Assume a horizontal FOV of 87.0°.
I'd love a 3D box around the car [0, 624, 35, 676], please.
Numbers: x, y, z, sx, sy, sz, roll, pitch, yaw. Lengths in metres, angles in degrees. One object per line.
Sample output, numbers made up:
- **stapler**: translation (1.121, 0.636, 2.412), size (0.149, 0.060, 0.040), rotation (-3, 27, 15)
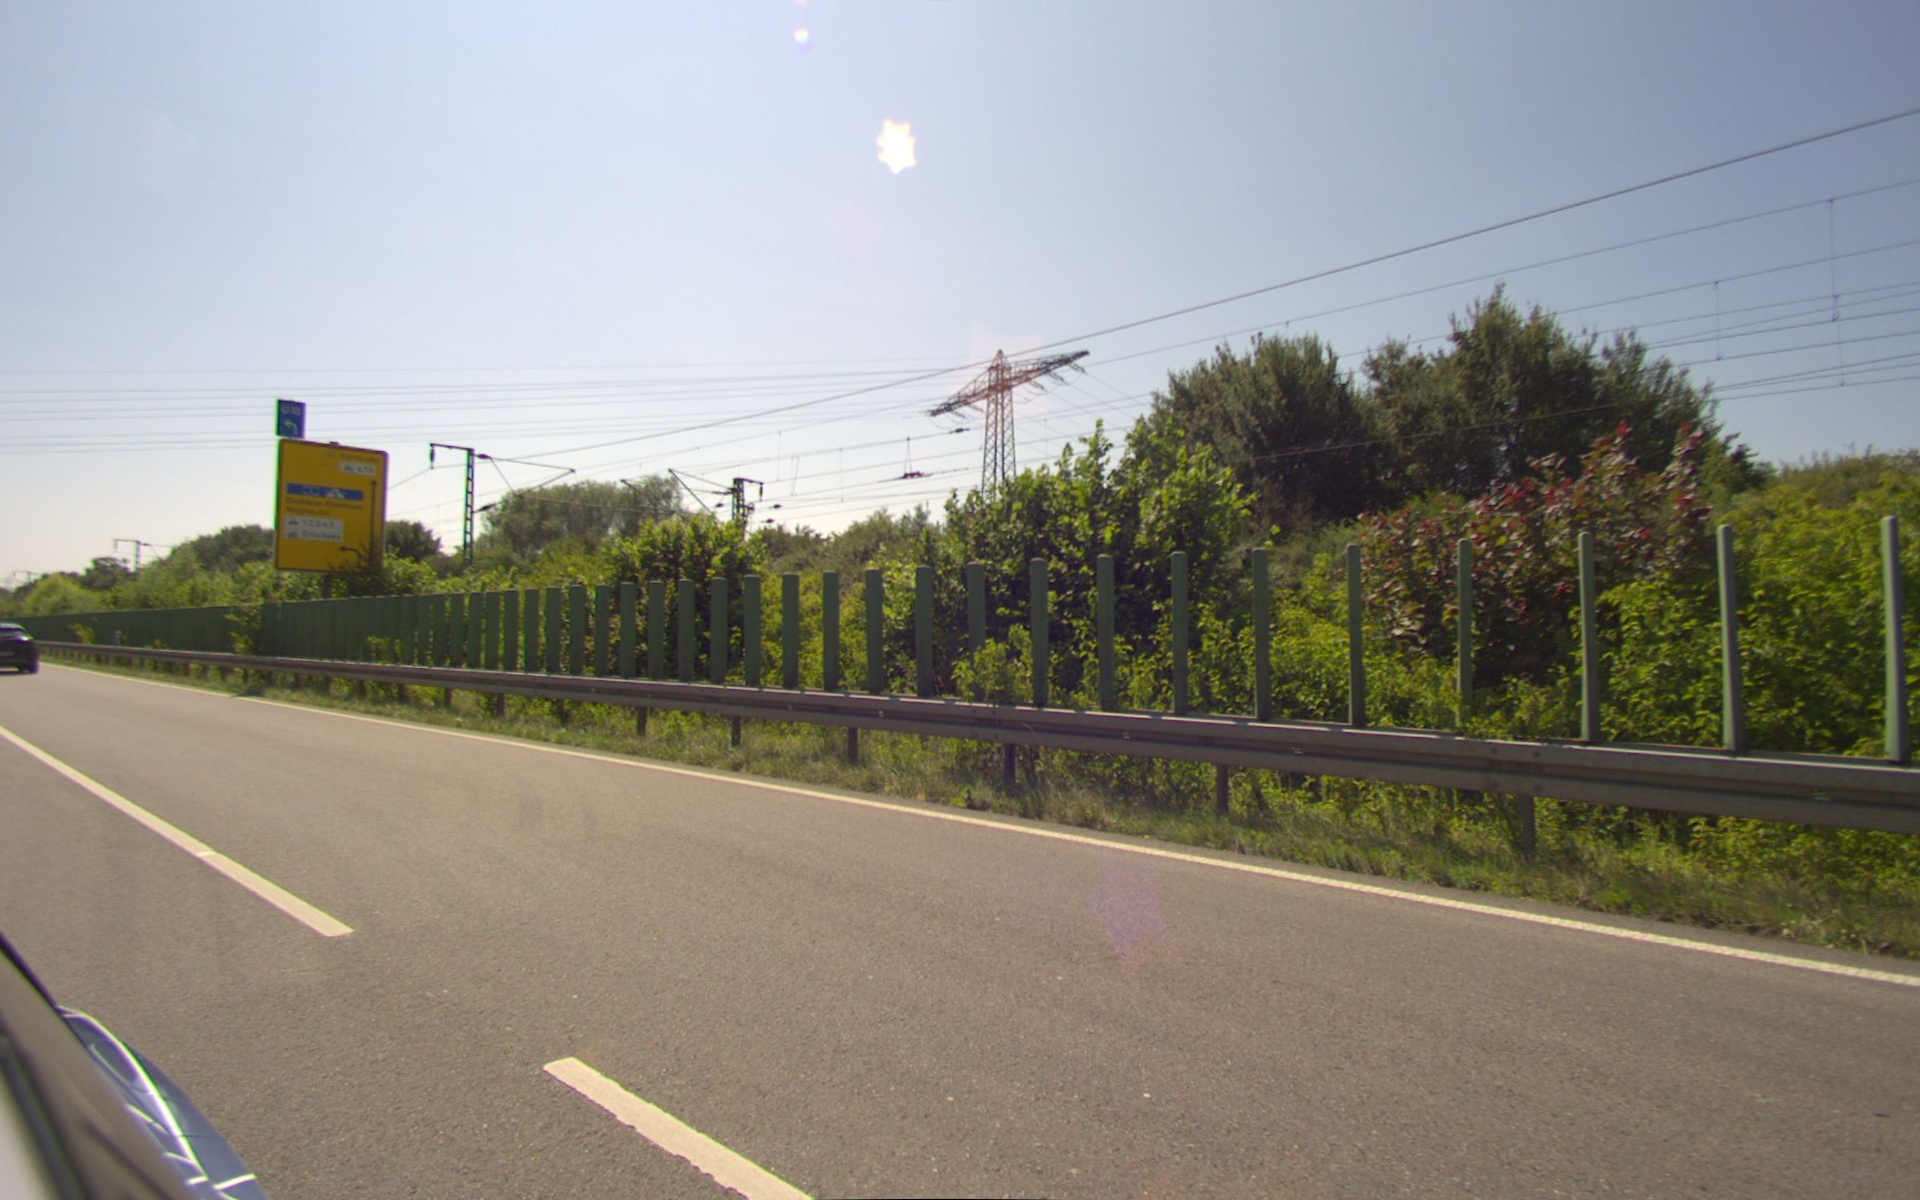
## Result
- **car**: translation (-29.984, 1.530, 31.218), size (4.286, 1.526, 1.655), rotation (-2, -2, 41)
